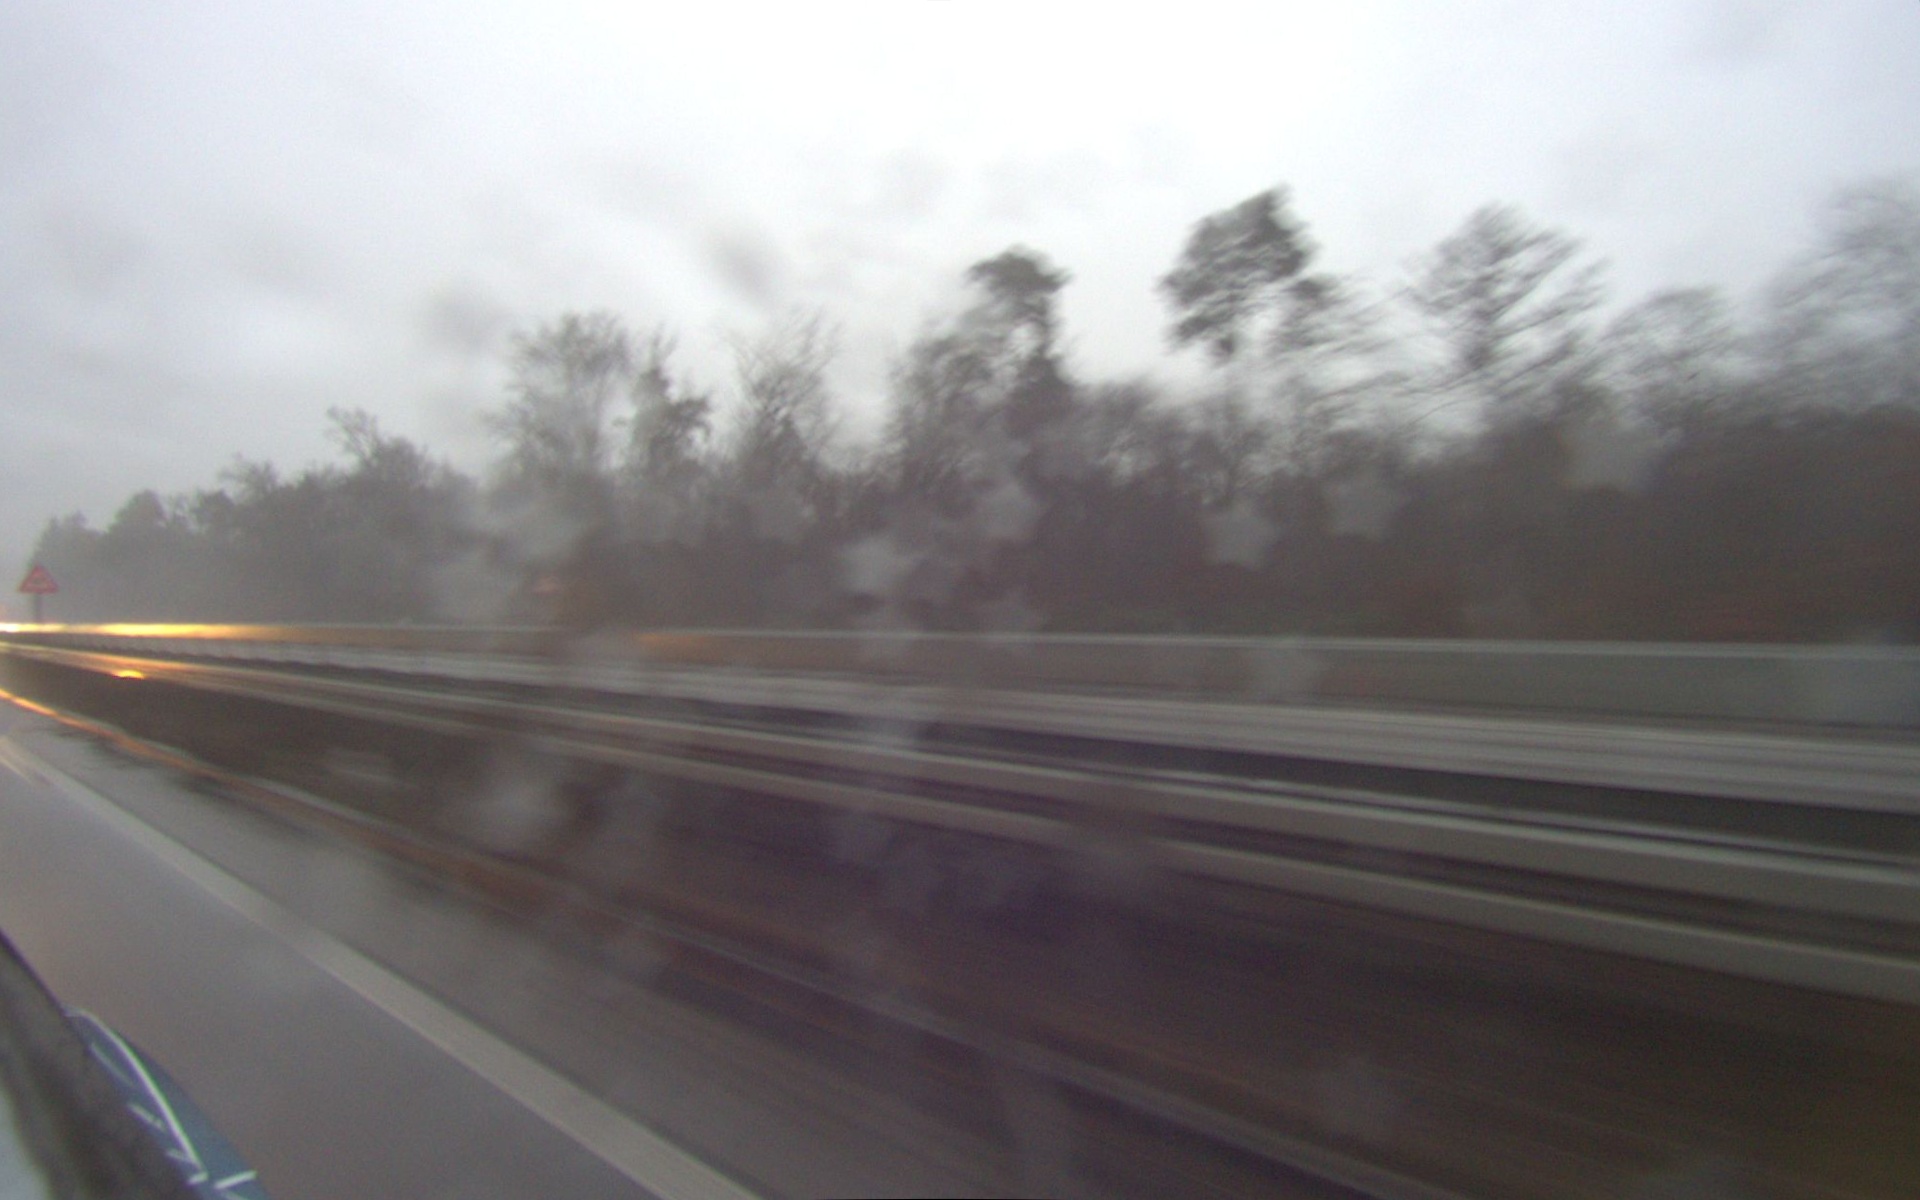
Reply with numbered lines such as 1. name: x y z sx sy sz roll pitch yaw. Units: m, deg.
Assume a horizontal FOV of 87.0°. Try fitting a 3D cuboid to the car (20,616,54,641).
1. car: -76.608 2.325 83.982 4.000 1.896 1.660 0 1 43
